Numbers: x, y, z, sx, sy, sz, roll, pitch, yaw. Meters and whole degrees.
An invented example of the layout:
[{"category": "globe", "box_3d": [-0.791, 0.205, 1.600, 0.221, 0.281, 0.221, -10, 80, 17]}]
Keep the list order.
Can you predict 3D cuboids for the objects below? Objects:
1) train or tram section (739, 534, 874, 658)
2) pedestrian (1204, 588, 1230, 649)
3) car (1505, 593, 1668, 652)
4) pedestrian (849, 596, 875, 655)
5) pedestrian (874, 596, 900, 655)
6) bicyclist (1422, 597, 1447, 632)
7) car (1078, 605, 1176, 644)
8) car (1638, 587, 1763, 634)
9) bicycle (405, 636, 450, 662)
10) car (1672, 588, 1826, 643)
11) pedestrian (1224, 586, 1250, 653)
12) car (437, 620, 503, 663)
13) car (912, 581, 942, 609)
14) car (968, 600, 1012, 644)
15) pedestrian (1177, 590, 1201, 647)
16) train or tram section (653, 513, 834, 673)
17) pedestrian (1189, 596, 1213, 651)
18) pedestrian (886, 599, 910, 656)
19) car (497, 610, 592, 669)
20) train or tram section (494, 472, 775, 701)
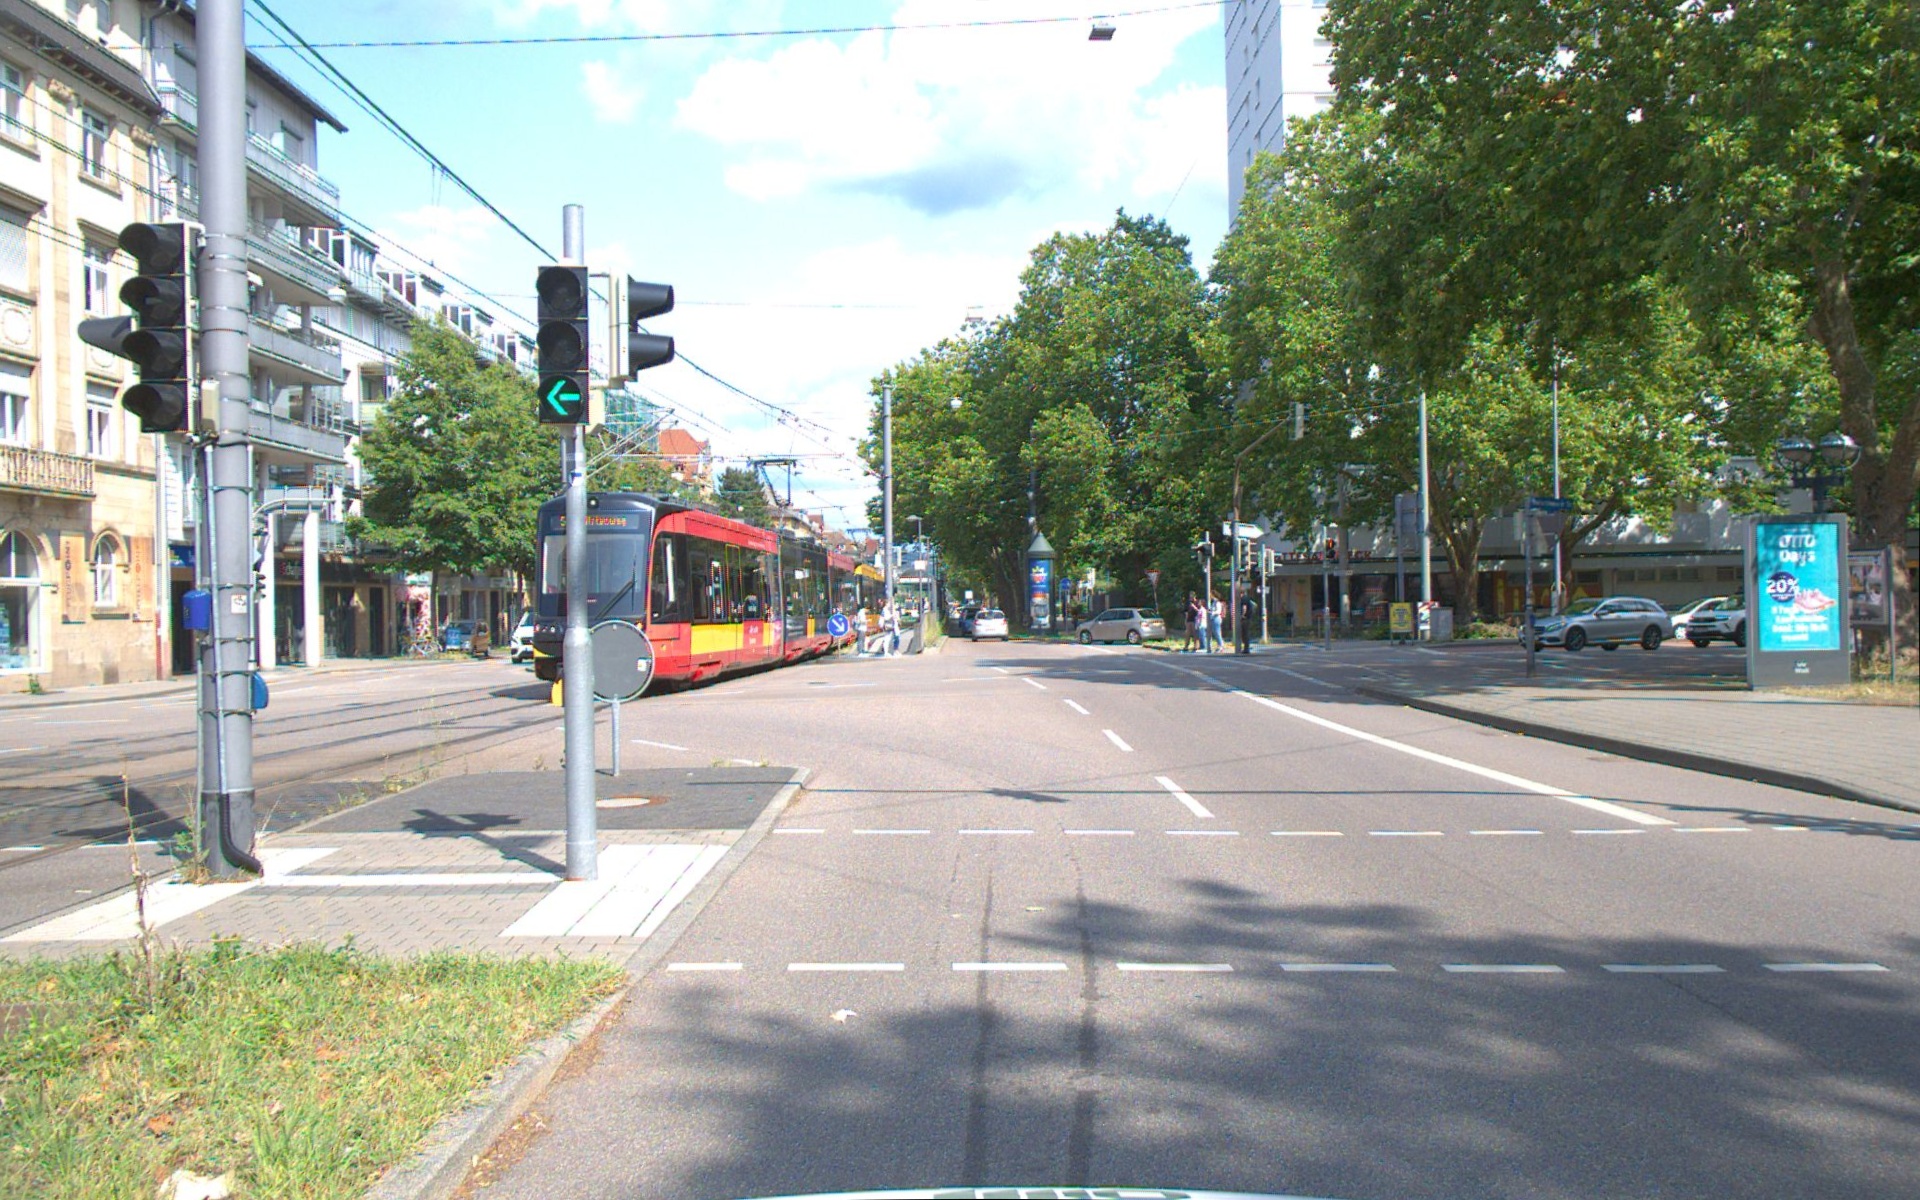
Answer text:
[{"category": "train or tram section", "box_3d": [-4.895, -0.115, 55.370, 2.747, 3.623, 12.160, -2, 0, 3]}, {"category": "pedestrian", "box_3d": [7.565, 0.540, 48.643, 0.520, 1.766, 0.553, -1, 0, -21]}, {"category": "car", "box_3d": [17.439, 0.610, 46.070, 3.924, 1.516, 1.852, -1, 0, -17]}, {"category": "pedestrian", "box_3d": [-2.913, 0.753, 49.073, 0.655, 1.732, 0.648, -1, 0, 2]}, {"category": "pedestrian", "box_3d": [-2.161, 0.747, 49.001, 0.655, 1.732, 0.648, -1, 0, 2]}, {"category": "bicyclist", "box_3d": [17.404, 0.540, 60.721, 0.796, 1.273, 0.482, 1, -1, 27]}, {"category": "car", "box_3d": [6.675, 0.977, 66.411, 3.538, 1.478, 1.745, -2, 0, 40]}, {"category": "car", "box_3d": [25.899, 0.354, 57.882, 3.588, 1.510, 1.735, -2, 0, -4]}, {"category": "bicycle", "box_3d": [-21.653, 1.987, 67.309, 1.655, 1.003, 0.497, -2, 0, -3]}, {"category": "car", "box_3d": [23.221, 0.447, 48.682, 4.005, 1.516, 1.849, -1, 0, -22]}, {"category": "pedestrian", "box_3d": [7.817, 0.542, 46.628, 0.473, 1.857, 0.553, -2, -1, 42]}, {"category": "car", "box_3d": [-22.124, 1.854, 74.792, 1.809, 1.821, 3.999, 1, 0, -1]}, {"category": "car", "box_3d": [-2.275, -0.351, 114.276, 1.777, 1.836, 4.001, -2, 0, 3]}, {"category": "car", "box_3d": [1.399, 1.034, 79.170, 1.953, 2.049, 3.999, 0, 0, -1]}, {"category": "pedestrian", "box_3d": [7.001, 0.566, 50.561, 0.503, 1.700, 0.553, -1, 0, -21]}, {"category": "train or tram section", "box_3d": [-5.428, -0.152, 43.743, 2.747, 3.623, 11.185, -2, 0, 2]}, {"category": "pedestrian", "box_3d": [7.283, 0.710, 49.995, 0.503, 1.625, 0.553, -1, 0, -21]}, {"category": "pedestrian", "box_3d": [-1.903, 0.834, 51.091, 0.655, 1.732, 0.648, -1, 0, 2]}, {"category": "car", "box_3d": [-14.396, 1.330, 57.629, 1.953, 1.924, 5.172, -1, 0, 0]}, {"category": "train or tram section", "box_3d": [-5.912, -0.209, 32.483, 2.738, 3.623, 11.380, -2, 0, 2]}]
